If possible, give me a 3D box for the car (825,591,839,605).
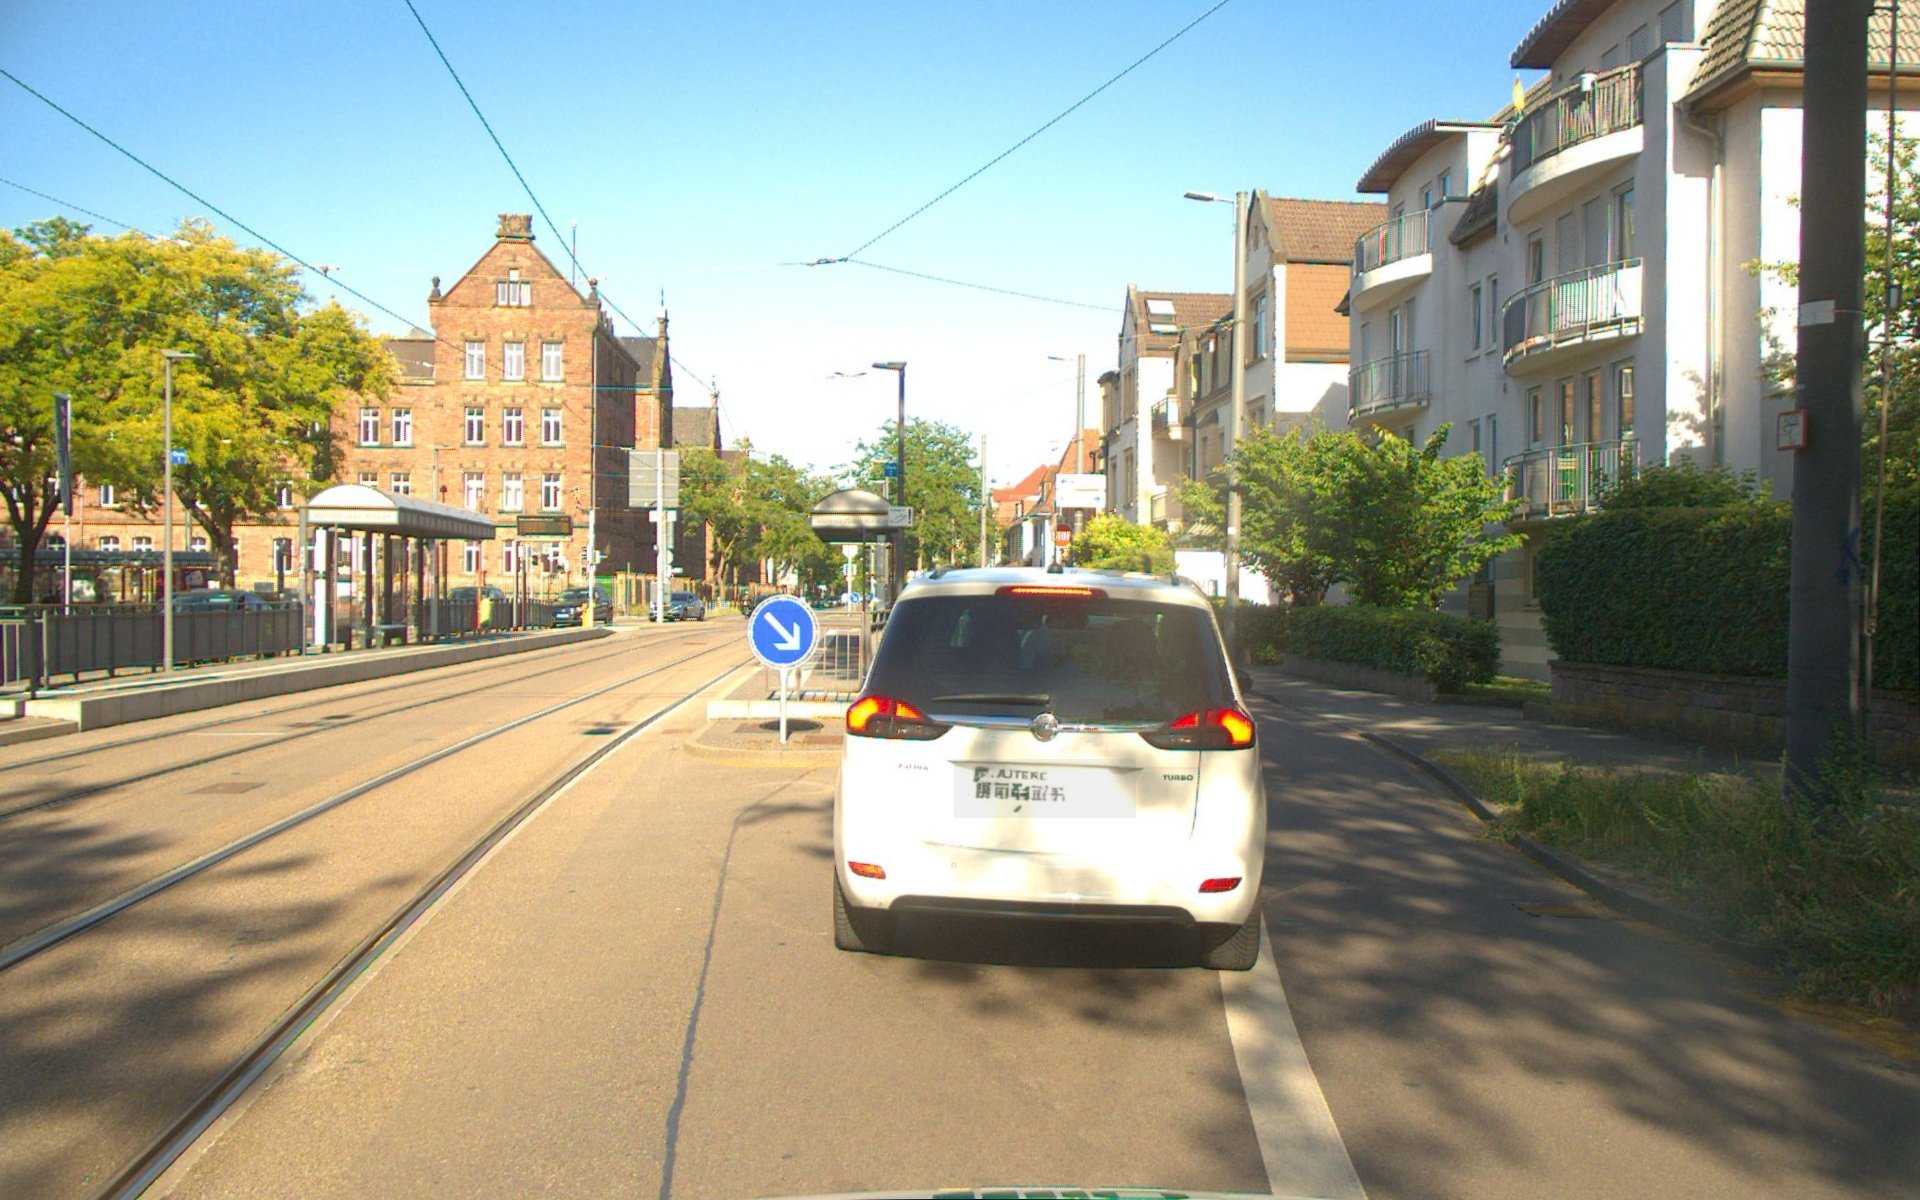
[{"bbox_3d":[-19.394,-0.309,249.647,1.955,2.049,3.994,1,0,-6],"label":"car"}]

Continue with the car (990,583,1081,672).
[{"bbox_3d":[1.499,0.522,33.929,1.563,1.663,3.900,2,0,-1],"label":"car"}]

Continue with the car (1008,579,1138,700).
[{"bbox_3d":[1.635,0.538,24.966,1.537,1.643,3.783,2,0,-2],"label":"car"}]

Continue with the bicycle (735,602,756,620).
[{"bbox_3d":[-12.414,0.647,95.834,0.710,0.982,2.062,1,1,5],"label":"bicycle"}]

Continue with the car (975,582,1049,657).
[{"bbox_3d":[1.219,0.429,40.421,1.563,1.663,3.901,2,1,-1],"label":"car"}]

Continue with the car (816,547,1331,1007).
[{"bbox_3d":[0.572,0.632,8.083,1.838,1.613,4.002,2,0,5],"label":"car"}]

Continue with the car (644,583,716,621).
[{"bbox_3d":[-13.801,0.114,81.719,1.788,1.819,4.330,0,-1,15],"label":"car"}]

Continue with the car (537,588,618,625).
[{"bbox_3d":[-16.105,0.298,69.869,1.788,1.471,4.331,1,-1,10],"label":"car"}]

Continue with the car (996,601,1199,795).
[{"bbox_3d":[1.226,0.762,14.790,1.536,1.426,3.786,2,0,5],"label":"car"}]

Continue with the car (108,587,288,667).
[{"bbox_3d":[-15.044,0.483,32.936,1.763,1.406,4.491,-1,1,-4],"label":"car"}]

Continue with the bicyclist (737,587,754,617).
[{"bbox_3d":[-12.410,0.100,95.829,0.710,1.717,1.170,1,1,5],"label":"bicyclist"}]

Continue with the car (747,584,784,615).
[{"bbox_3d":[-13.187,-0.023,112.119,1.952,2.049,4.000,1,0,1],"label":"car"}]

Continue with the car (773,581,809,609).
[{"bbox_3d":[-12.882,-0.392,126.576,1.951,2.049,4.002,1,0,6],"label":"car"}]

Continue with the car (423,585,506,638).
[{"bbox_3d":[-16.303,0.386,54.573,1.791,1.645,4.322,1,-1,-6],"label":"car"}]
